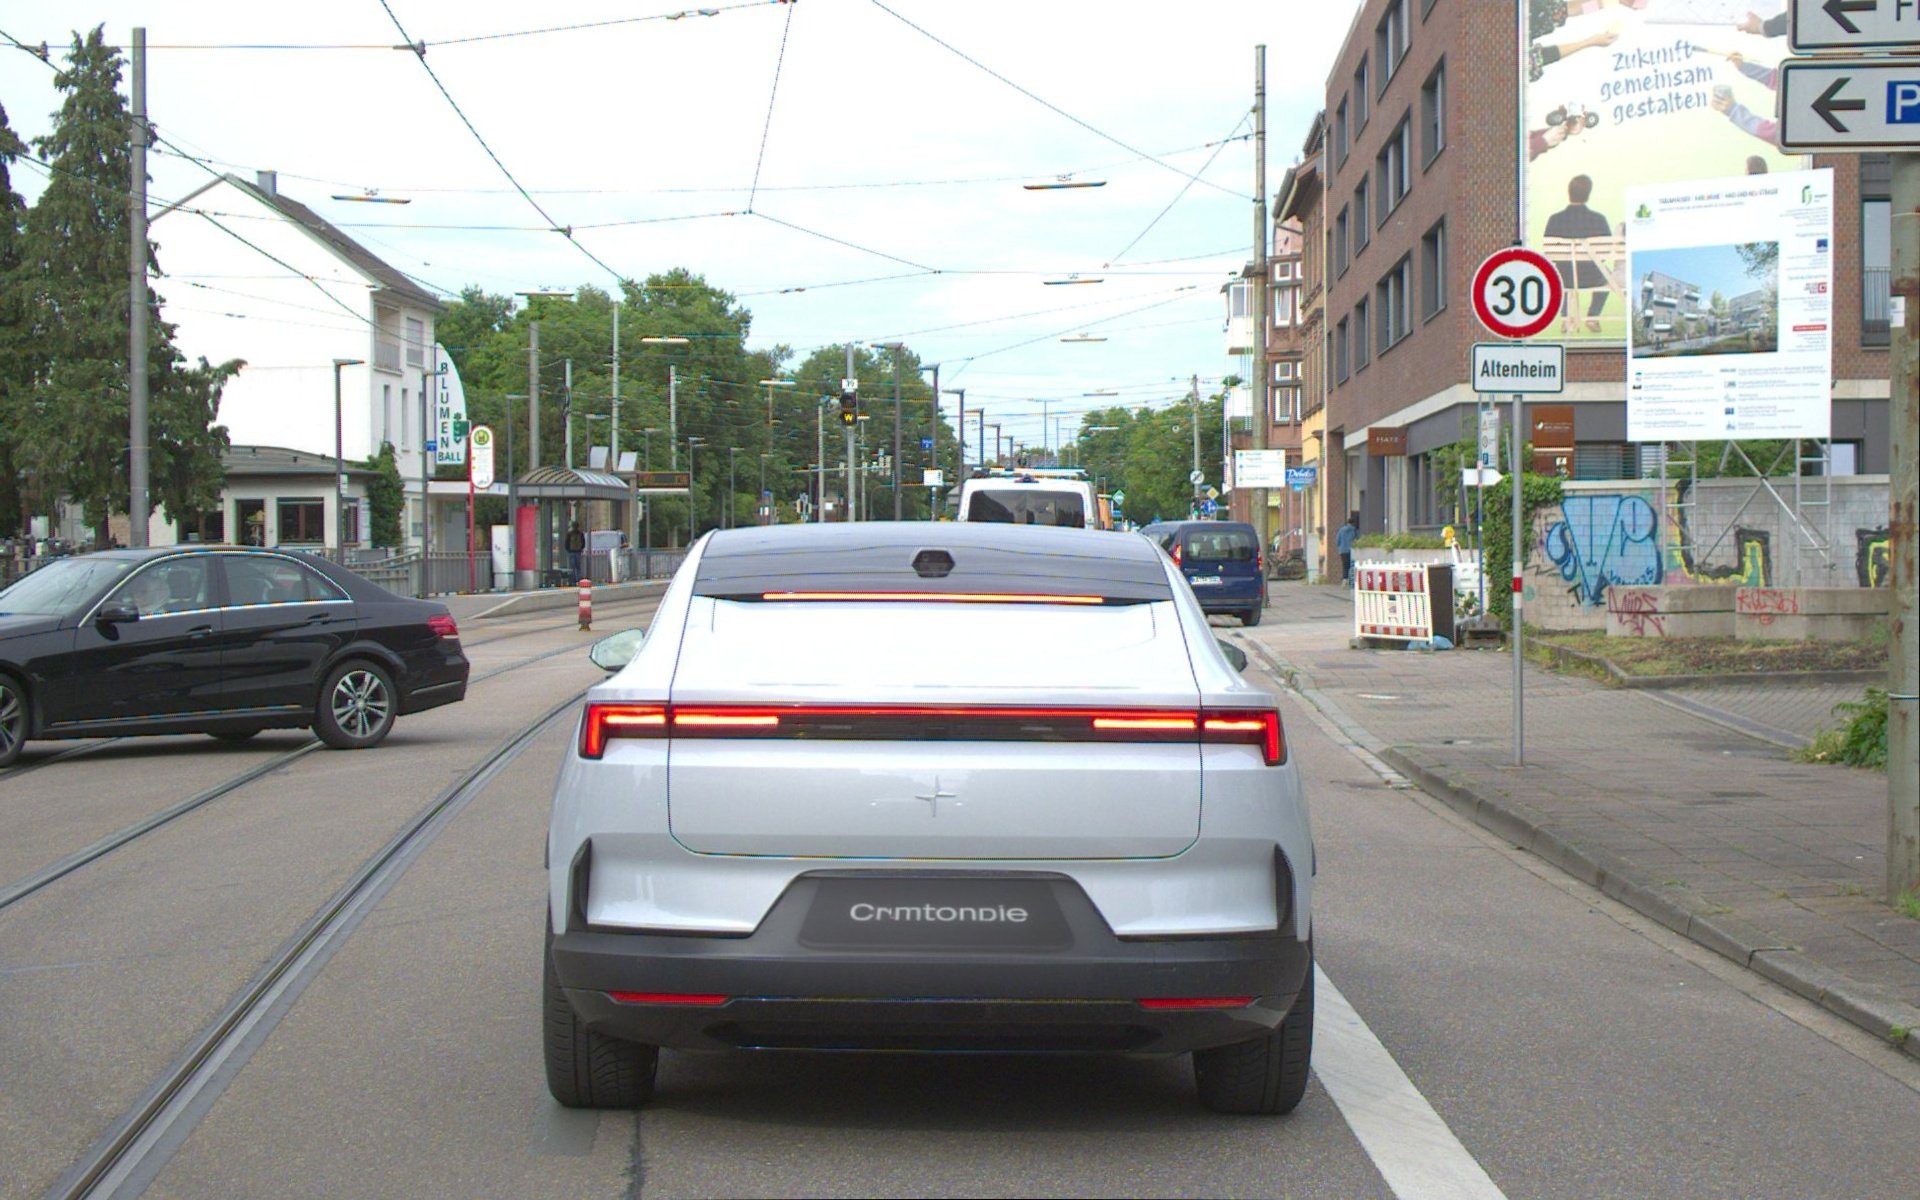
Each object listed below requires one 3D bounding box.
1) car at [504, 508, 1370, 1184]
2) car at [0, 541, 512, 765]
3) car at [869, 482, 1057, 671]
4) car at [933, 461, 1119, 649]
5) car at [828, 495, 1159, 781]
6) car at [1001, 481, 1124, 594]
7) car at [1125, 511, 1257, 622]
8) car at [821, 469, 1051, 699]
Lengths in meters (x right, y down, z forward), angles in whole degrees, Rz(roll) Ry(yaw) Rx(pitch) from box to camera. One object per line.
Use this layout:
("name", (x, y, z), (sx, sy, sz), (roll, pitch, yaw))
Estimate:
("car", (-0.212, 0.539, 10.061), (1.981, 1.544, 4.184), (1, 1, -5))
("car", (-5.741, 0.321, 23.969), (4.871, 1.422, 1.952), (-1, 1, -38))
("car", (-0.009, -0.272, 39.100), (1.993, 2.007, 4.000), (1, 0, -1))
("car", (0.848, -0.611, 47.394), (2.216, 2.415, 4.952), (1, 0, -2))
("car", (0.137, 0.219, 23.409), (1.968, 1.750, 3.838), (1, 0, -3))
("car", (1.999, -1.221, 68.444), (2.139, 2.138, 4.744), (1, 0, -2))
("car", (3.992, -0.582, 59.901), (1.874, 1.817, 4.097), (1, 0, -2))
("car", (-0.293, -0.161, 32.671), (1.993, 2.007, 4.000), (1, 0, -2))
